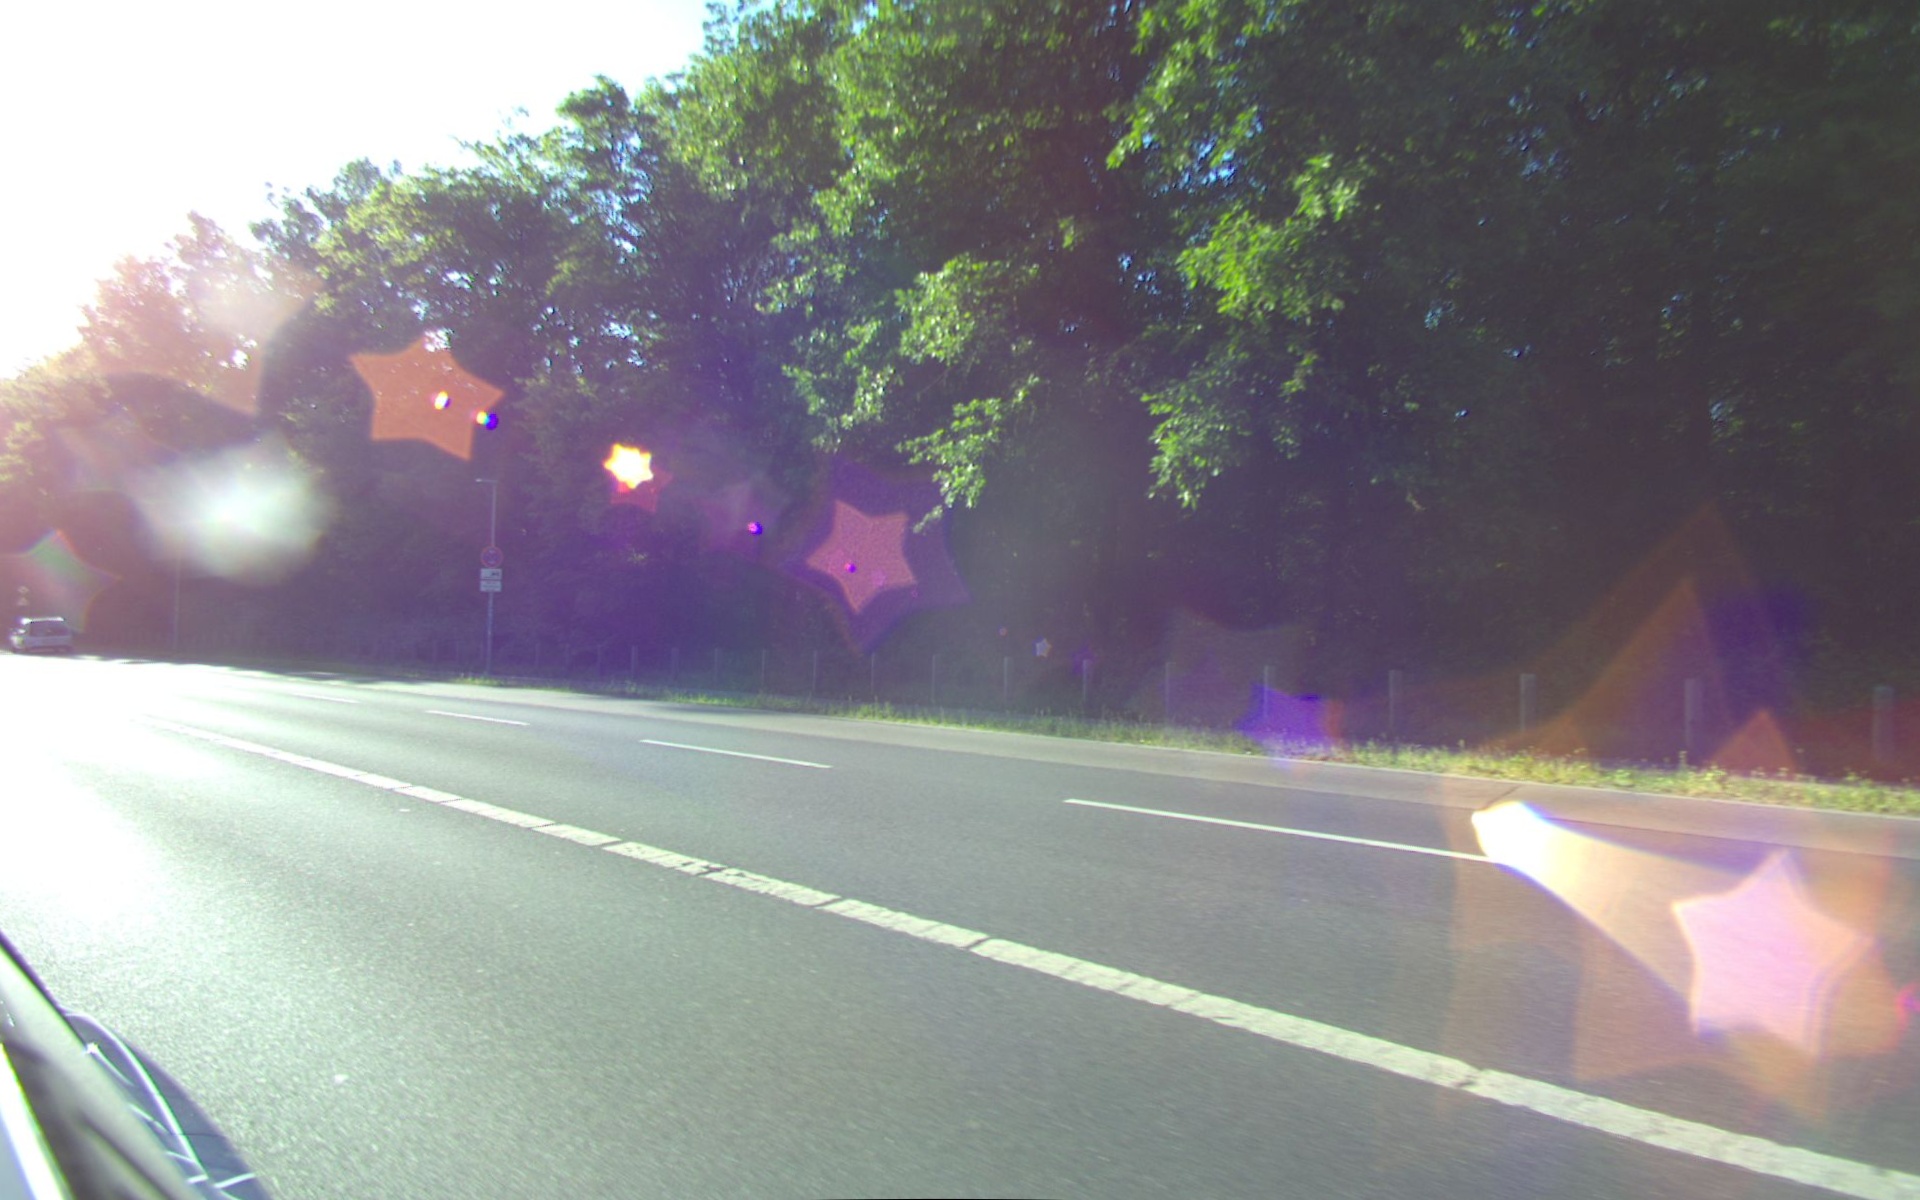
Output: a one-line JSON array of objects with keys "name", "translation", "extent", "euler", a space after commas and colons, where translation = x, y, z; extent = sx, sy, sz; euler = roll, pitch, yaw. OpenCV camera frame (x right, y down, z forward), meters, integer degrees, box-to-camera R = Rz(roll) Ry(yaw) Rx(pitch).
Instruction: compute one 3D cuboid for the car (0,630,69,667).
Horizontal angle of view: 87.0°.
[{"name": "car", "translation": [-40.011, 2.049, 43.677], "extent": [4.303, 1.448, 1.572], "euler": [-1, 0, 38]}]
